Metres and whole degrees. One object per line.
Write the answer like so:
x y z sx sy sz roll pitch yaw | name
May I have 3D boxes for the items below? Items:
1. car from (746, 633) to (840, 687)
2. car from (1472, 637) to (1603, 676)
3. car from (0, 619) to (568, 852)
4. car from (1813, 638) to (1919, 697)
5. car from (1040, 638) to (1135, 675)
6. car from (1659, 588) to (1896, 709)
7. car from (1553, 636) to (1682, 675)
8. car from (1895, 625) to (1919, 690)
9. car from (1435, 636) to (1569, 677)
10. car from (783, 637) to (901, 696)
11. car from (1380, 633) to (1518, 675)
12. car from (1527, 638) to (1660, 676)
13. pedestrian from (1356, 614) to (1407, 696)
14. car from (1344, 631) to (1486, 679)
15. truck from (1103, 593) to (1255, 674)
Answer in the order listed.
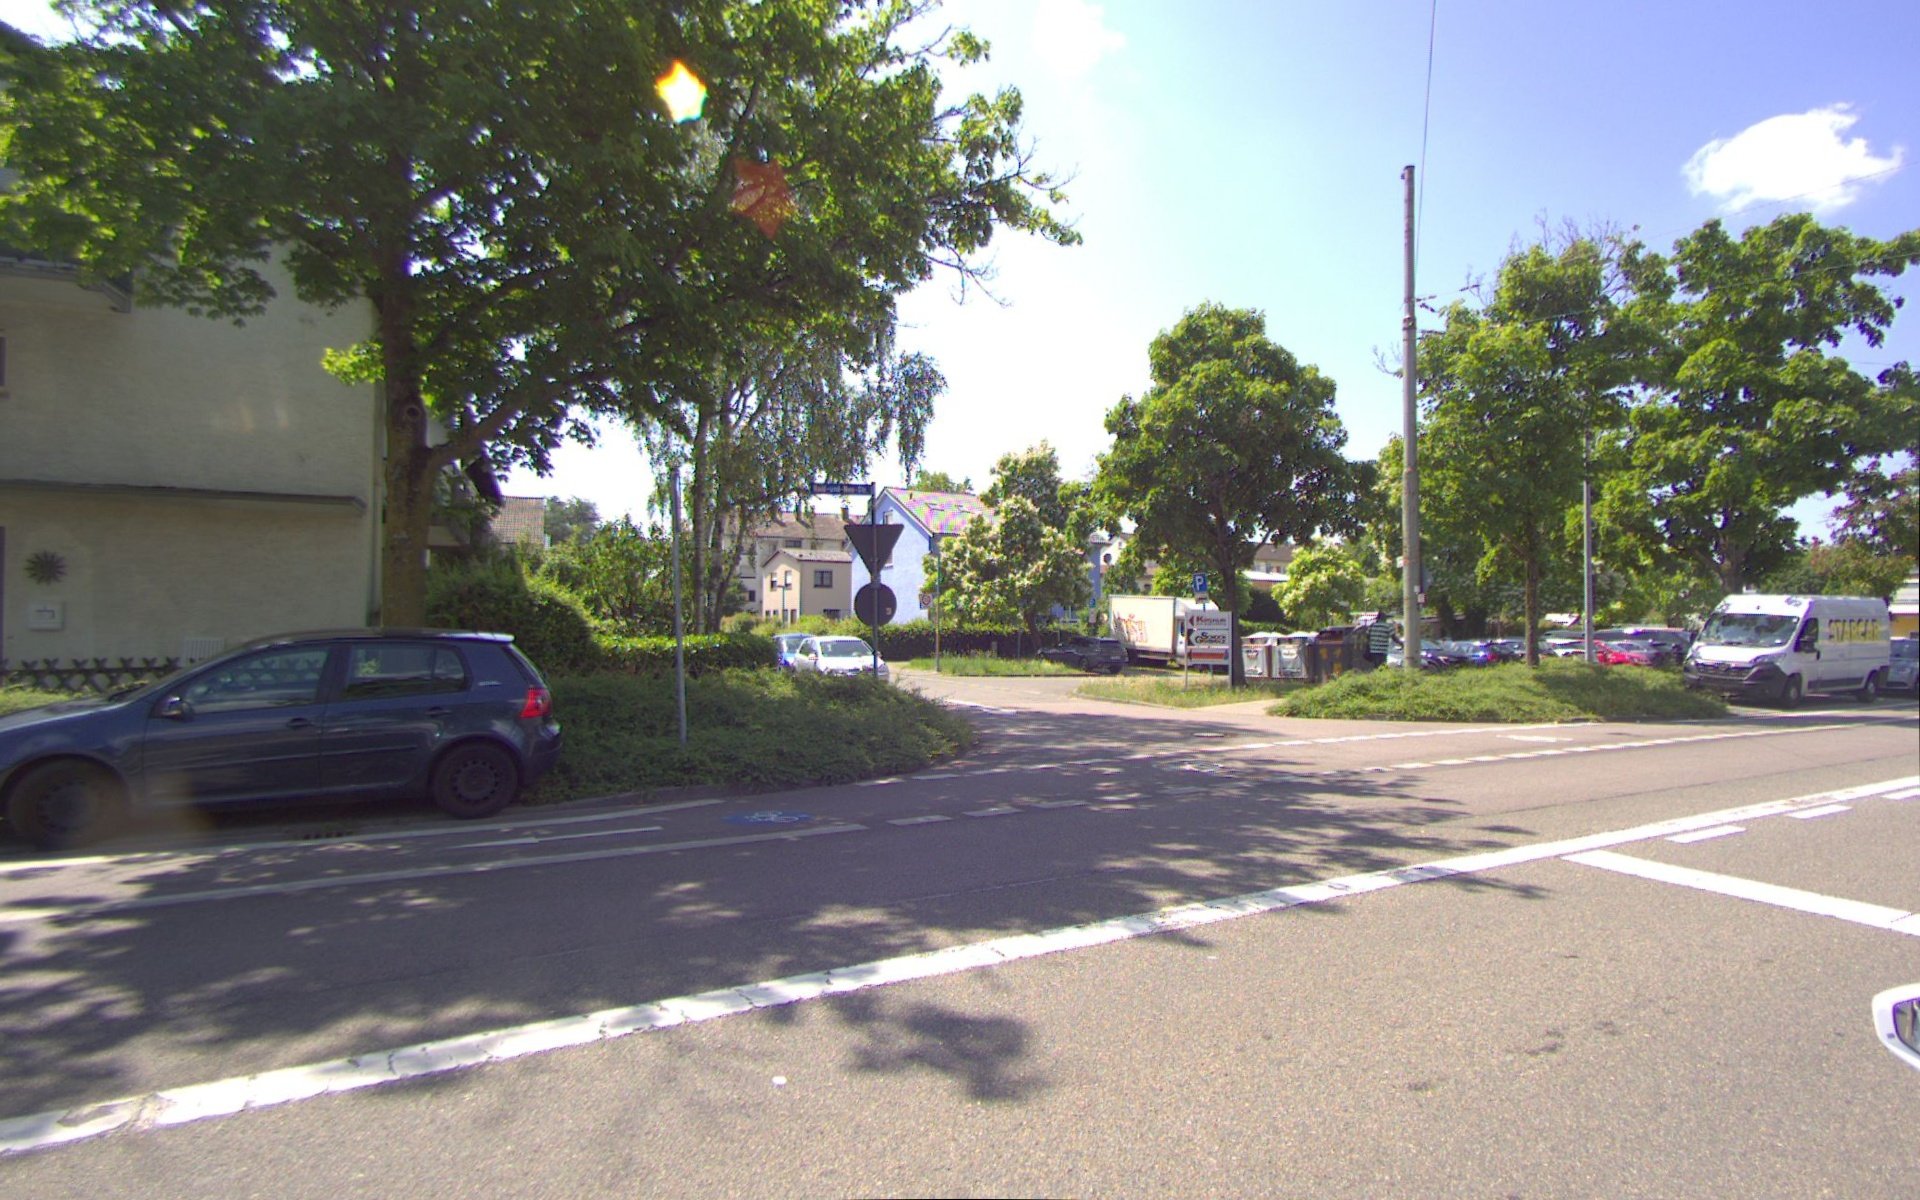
-5.233 1.799 31.095 1.788 1.536 3.973 1 -2 -27 | car
21.757 2.086 37.991 1.785 1.357 3.967 1 -2 -31 | car
-5.492 0.949 8.236 4.001 1.500 1.765 1 0 -31 | car
24.757 1.740 26.704 4.292 1.456 1.860 1 -2 -31 | car
5.123 2.256 40.869 1.753 1.417 3.966 1 -2 -32 | car
19.374 1.074 23.728 6.117 2.520 2.147 1 1 -29 | car
26.288 2.186 40.309 1.784 1.461 3.967 1 -2 -31 | car
30.287 1.723 30.361 4.221 1.920 1.860 1 -2 -31 | car
19.609 2.018 36.498 1.785 1.357 3.967 1 -2 -31 | car
-3.142 1.674 26.068 1.788 1.376 3.973 1 -2 -27 | car
16.754 1.825 34.605 1.785 1.357 3.967 1 -2 -31 | car
24.321 2.166 38.675 1.785 1.357 3.967 1 -2 -31 | car
9.761 1.257 23.253 0.961 1.847 0.792 -1 -2 33 | pedestrian
14.884 1.760 33.056 1.785 1.461 3.967 1 -2 -31 | car
9.536 1.477 44.589 2.307 3.270 7.147 1 -2 -32 | truck
